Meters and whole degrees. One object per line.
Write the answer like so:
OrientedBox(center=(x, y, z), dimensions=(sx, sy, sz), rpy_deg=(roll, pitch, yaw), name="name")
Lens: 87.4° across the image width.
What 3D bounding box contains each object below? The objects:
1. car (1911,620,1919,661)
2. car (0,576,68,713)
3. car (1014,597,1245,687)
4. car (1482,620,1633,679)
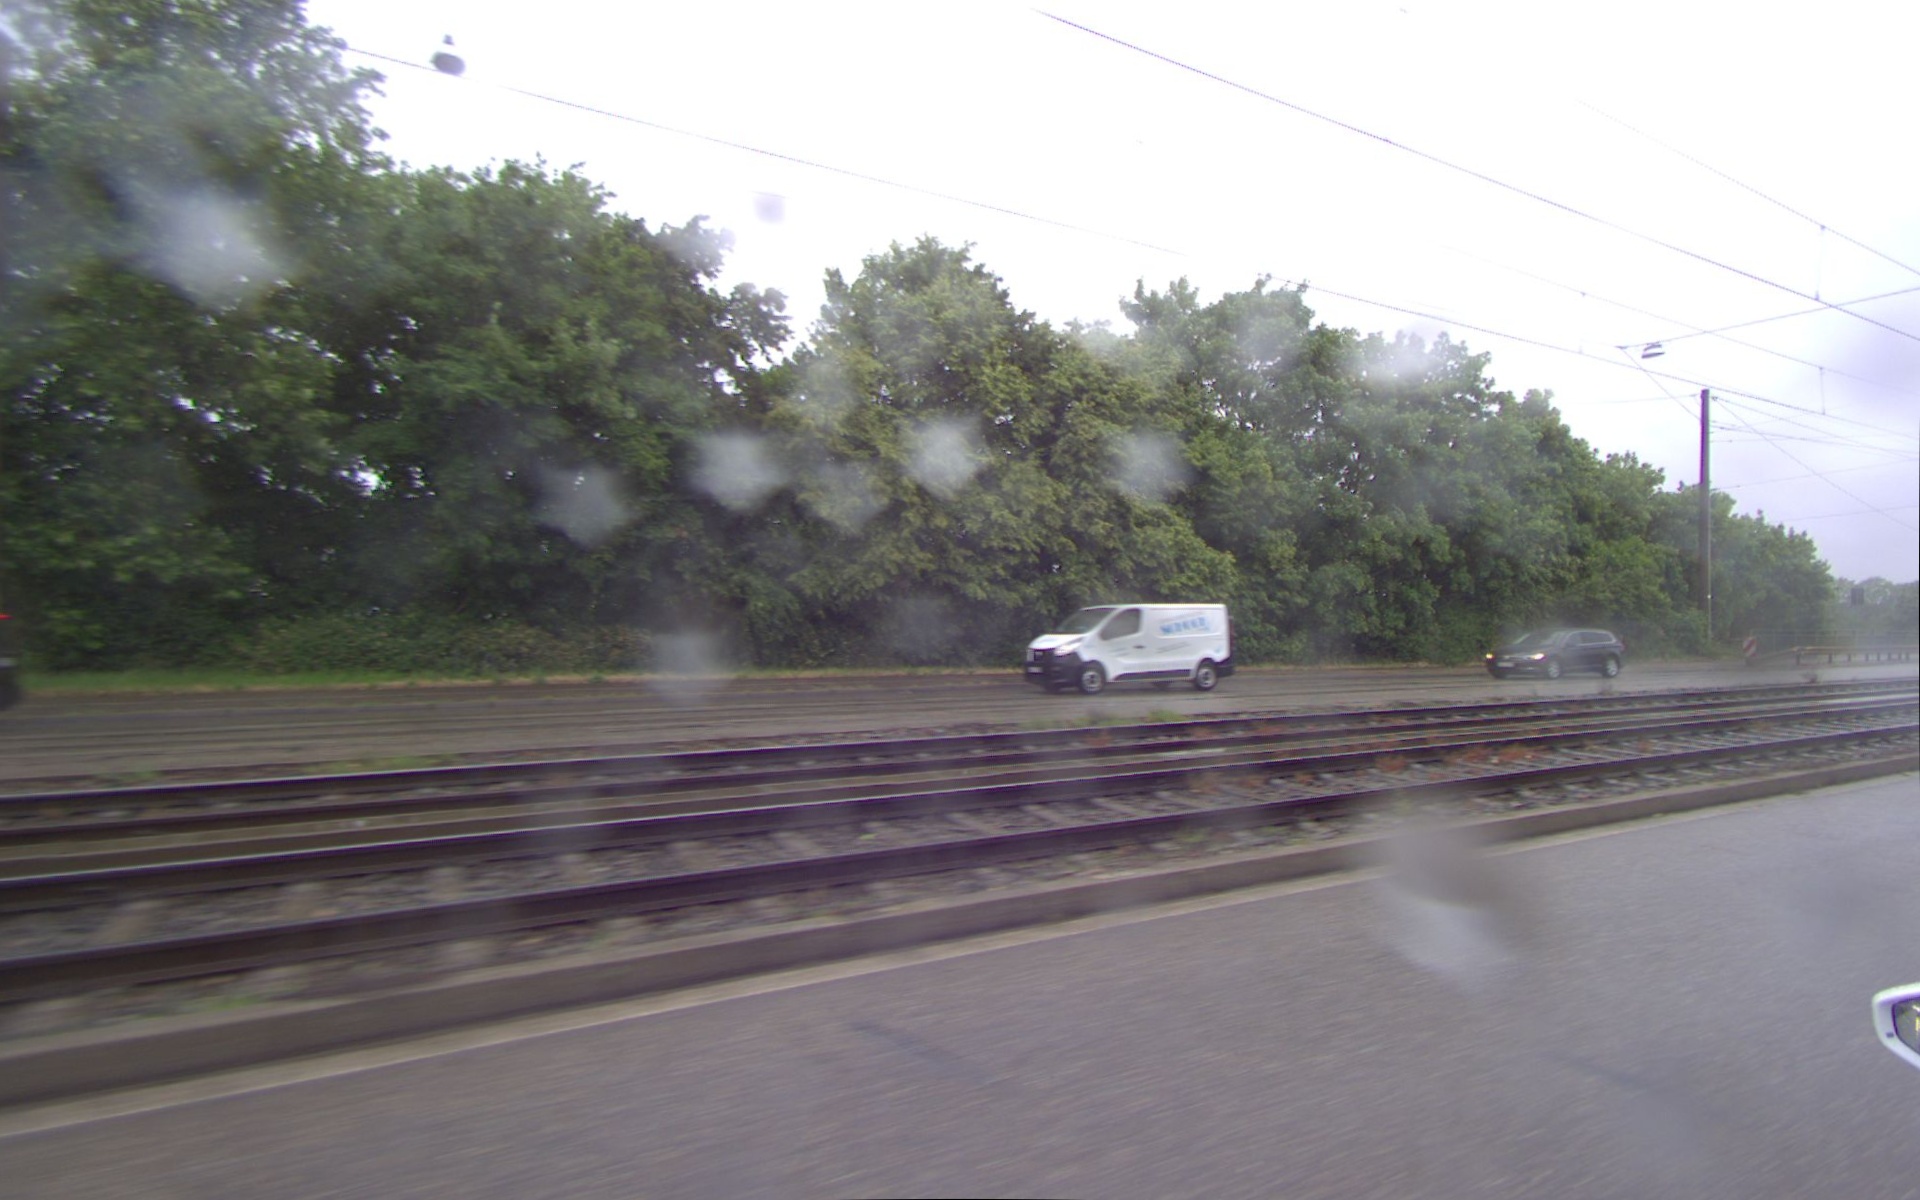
OrientedBox(center=(43.016, 1.779, 43.425), dimensions=(3.954, 1.734, 1.745), rpy_deg=(0, 1, -31), name="car")
OrientedBox(center=(-14.411, 0.545, 12.863), dimensions=(4.109, 1.740, 1.834), rpy_deg=(0, 1, -27), name="car")
OrientedBox(center=(3.849, 0.875, 22.580), dimensions=(4.924, 1.800, 2.031), rpy_deg=(0, 1, -29), name="car")
OrientedBox(center=(17.643, 1.403, 29.634), dimensions=(4.552, 1.539, 1.682), rpy_deg=(0, 1, -28), name="car")
